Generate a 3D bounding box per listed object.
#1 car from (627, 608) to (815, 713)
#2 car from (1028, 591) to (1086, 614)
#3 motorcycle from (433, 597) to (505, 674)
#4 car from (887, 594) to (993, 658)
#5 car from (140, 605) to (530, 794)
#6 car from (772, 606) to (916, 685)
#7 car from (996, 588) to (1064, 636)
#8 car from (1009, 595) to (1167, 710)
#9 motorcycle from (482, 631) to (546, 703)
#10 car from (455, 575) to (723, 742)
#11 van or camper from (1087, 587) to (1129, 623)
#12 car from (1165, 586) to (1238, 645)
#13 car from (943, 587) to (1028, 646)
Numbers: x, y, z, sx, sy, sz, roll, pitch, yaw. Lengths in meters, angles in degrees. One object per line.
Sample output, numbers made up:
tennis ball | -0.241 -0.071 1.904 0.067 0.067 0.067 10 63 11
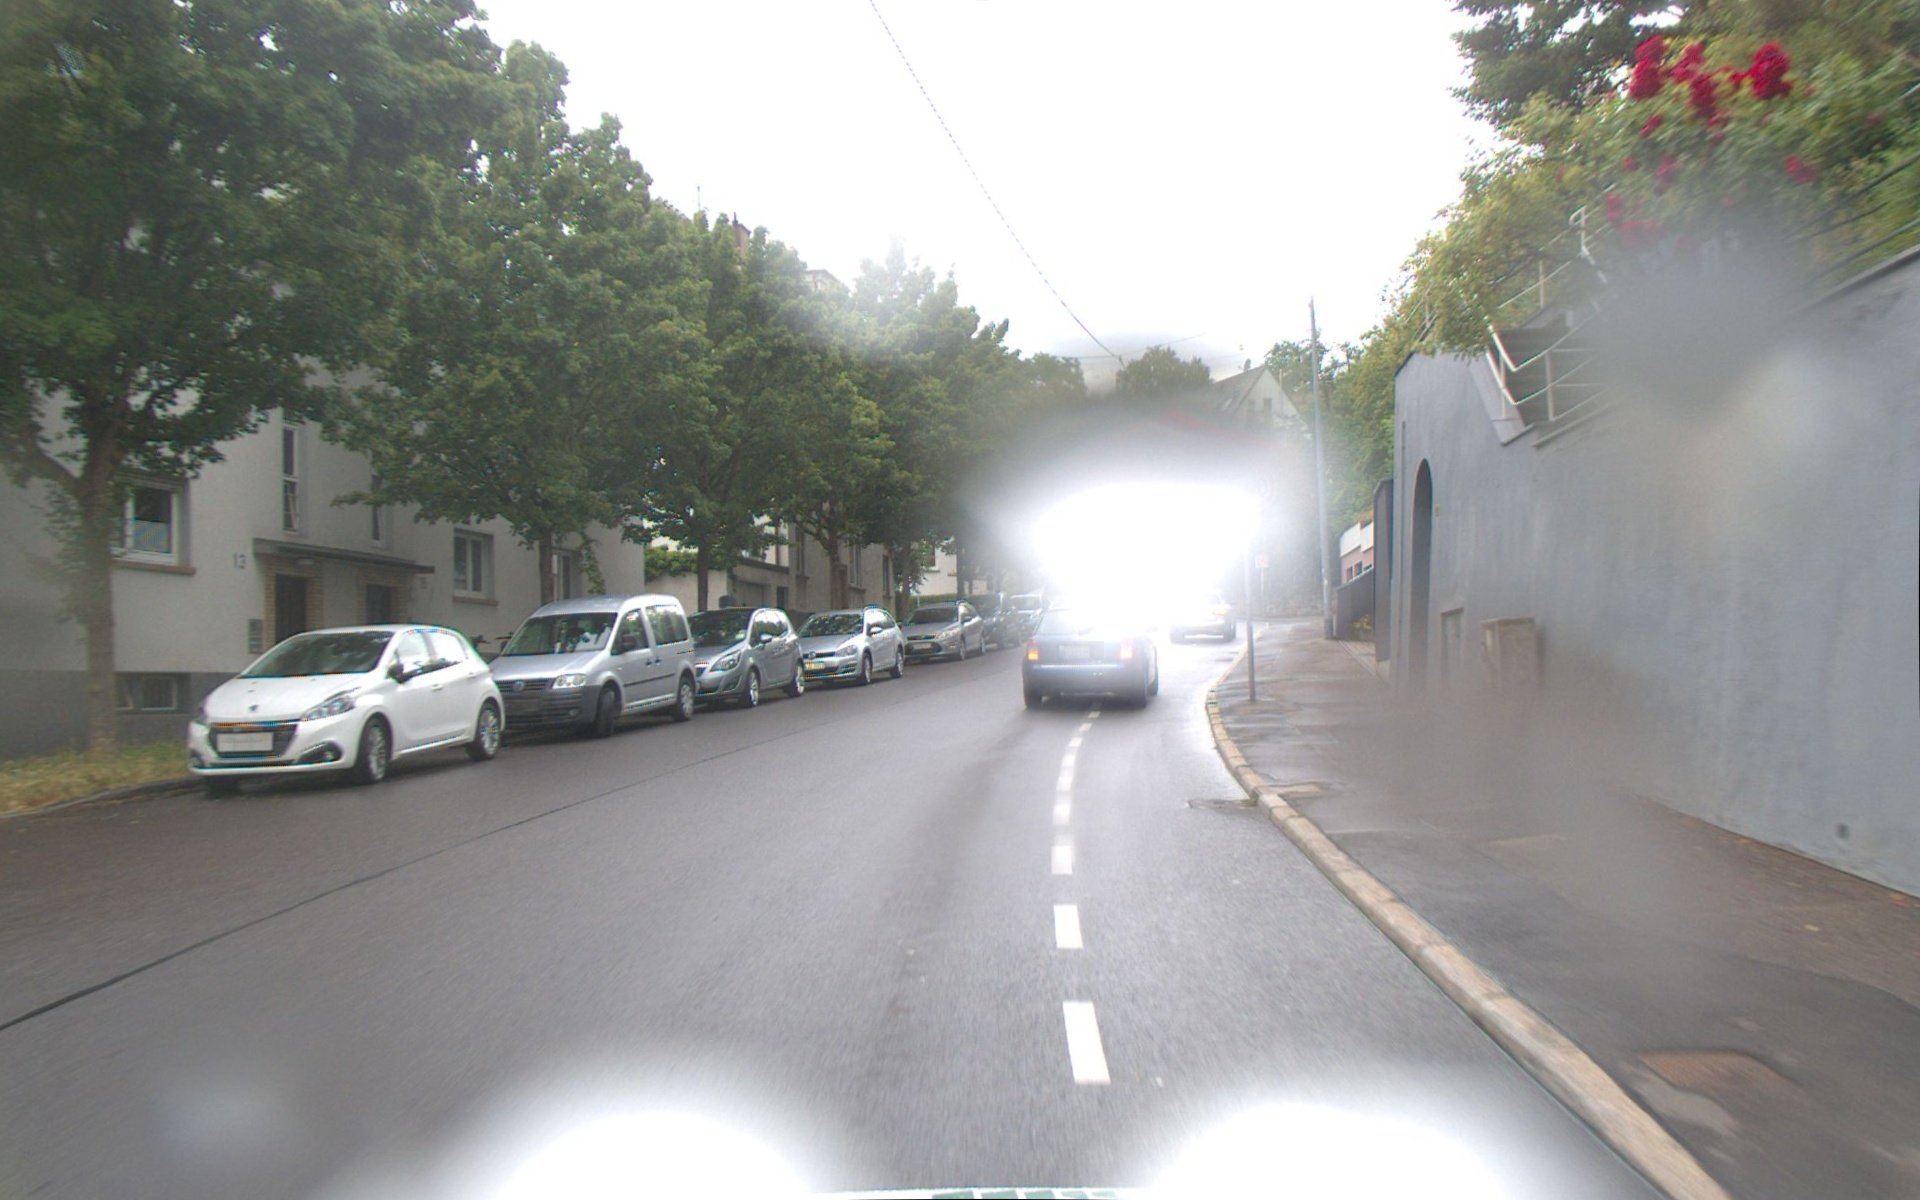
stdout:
car | -3.867 0.963 27.505 1.766 1.511 4.239 -4 -2 10
car | 7.130 0.189 121.355 4.140 1.534 1.716 -1 0 -38
motorcycle | -7.674 0.540 25.908 0.421 1.140 1.622 -3 0 7
car | -0.453 0.693 43.513 1.766 1.579 4.803 -1 -1 12
car | -6.059 0.924 16.655 1.747 1.540 4.349 -4 -2 7
car | -2.245 0.890 33.290 1.766 1.479 4.600 -1 -1 11
car | 2.436 0.393 56.984 1.676 1.488 3.885 0 2 13
car | 1.955 0.688 24.020 1.814 1.438 4.365 -2 0 10
motorcycle | -7.459 1.101 27.695 0.402 1.118 1.622 -2 0 7
car | -4.909 0.763 22.616 1.873 2.036 4.552 -1 -1 11
van or camper | 8.842 0.338 99.055 1.954 2.049 3.997 0 -2 -3
car | 7.071 0.417 48.201 1.908 1.588 4.267 2 1 10
car | 0.824 0.474 49.633 1.766 1.655 4.143 -1 0 12
